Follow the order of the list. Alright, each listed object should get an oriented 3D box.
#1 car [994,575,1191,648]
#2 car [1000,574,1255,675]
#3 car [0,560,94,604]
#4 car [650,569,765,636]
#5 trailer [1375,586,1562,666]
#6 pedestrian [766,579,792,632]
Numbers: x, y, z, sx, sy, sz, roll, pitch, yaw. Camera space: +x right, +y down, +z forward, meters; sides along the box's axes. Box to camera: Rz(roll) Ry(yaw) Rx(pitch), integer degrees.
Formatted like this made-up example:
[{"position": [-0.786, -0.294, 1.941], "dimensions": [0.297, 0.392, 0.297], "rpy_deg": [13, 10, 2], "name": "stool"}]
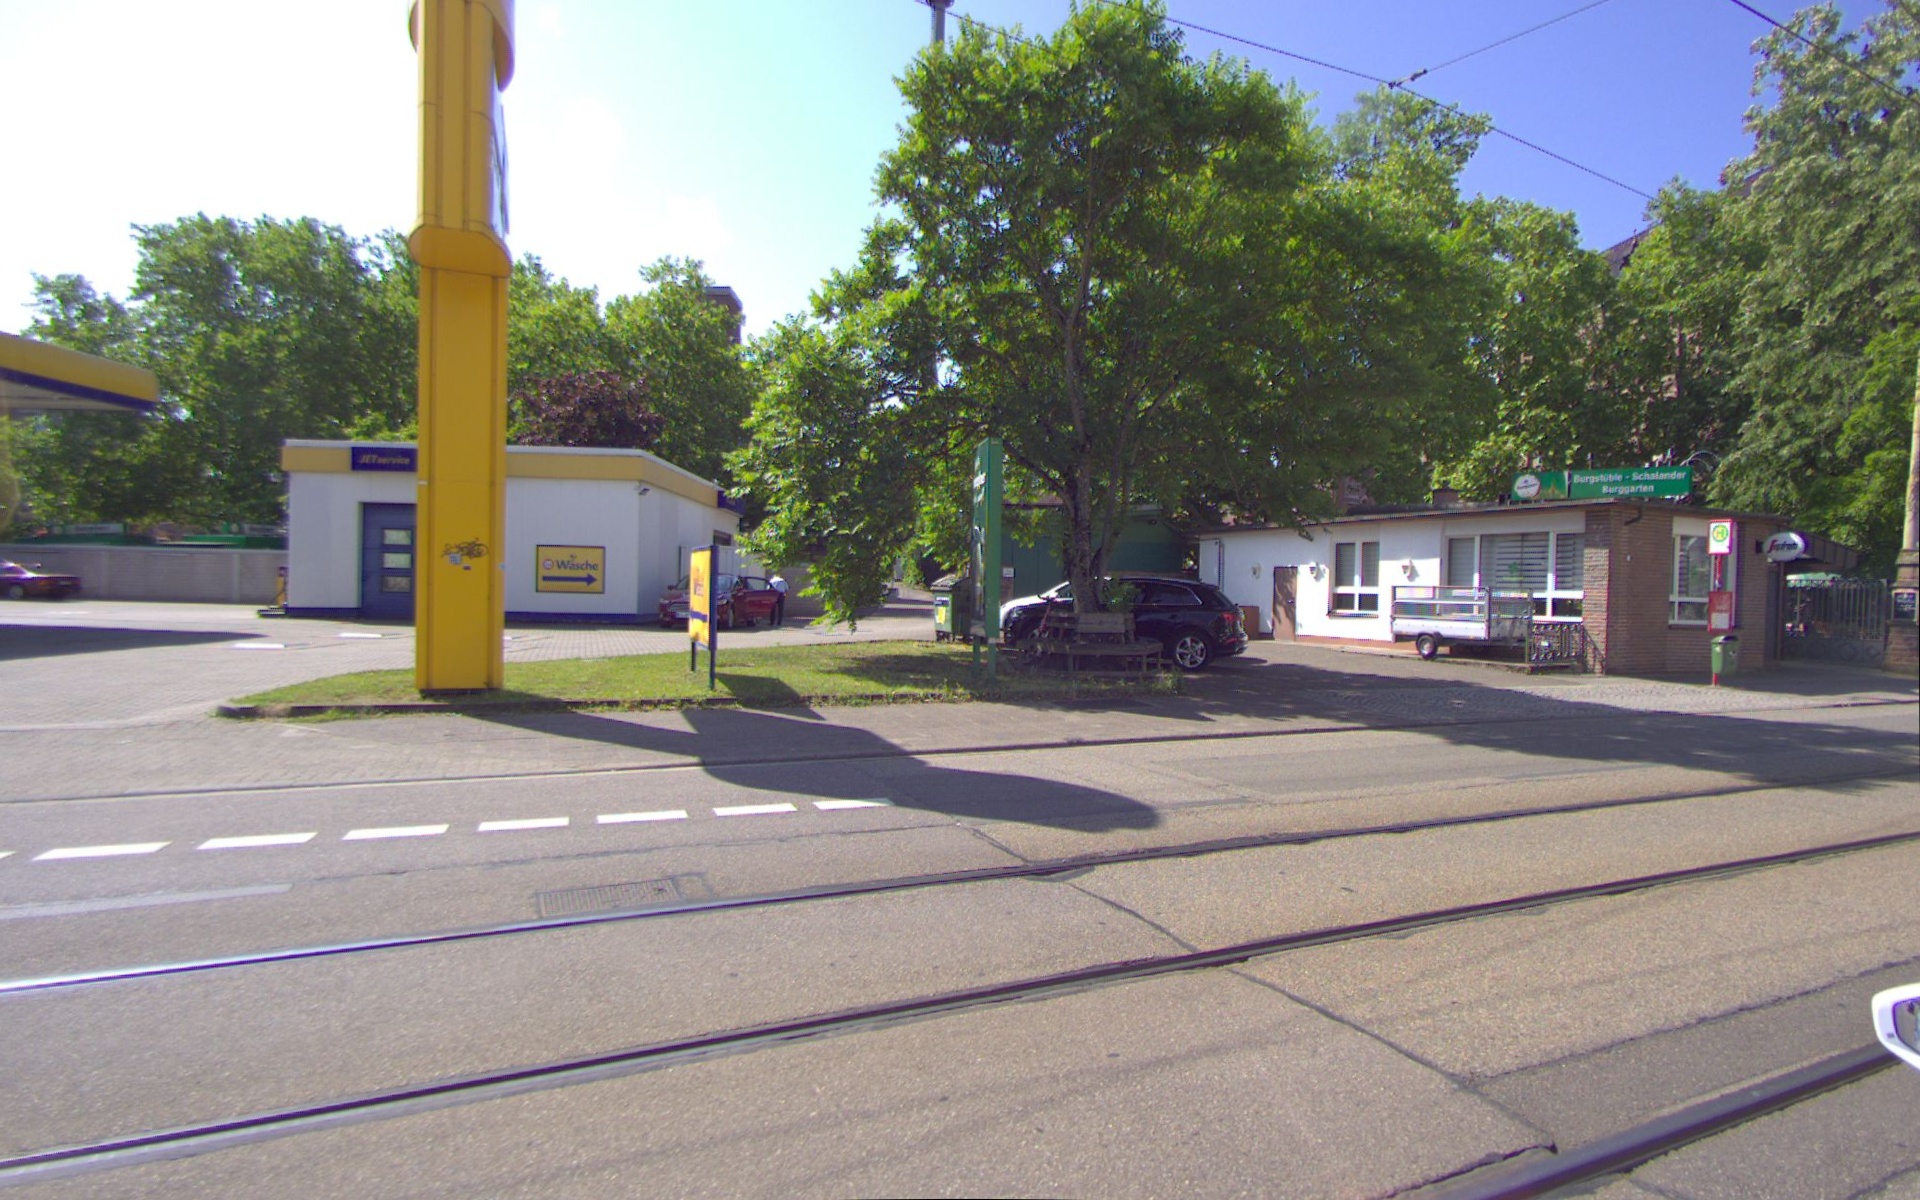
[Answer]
[{"position": [3.309, 0.243, 24.961], "dimensions": [4.488, 1.604, 1.949], "rpy_deg": [2, 1, 20], "name": "car"}, {"position": [3.205, 0.402, 19.118], "dimensions": [4.488, 1.647, 1.949], "rpy_deg": [2, 1, 19], "name": "car"}, {"position": [-33.867, -0.671, 36.297], "dimensions": [3.495, 1.479, 1.740], "rpy_deg": [2, 1, -5], "name": "car"}, {"position": [-6.578, 0.032, 26.632], "dimensions": [1.899, 1.547, 4.171], "rpy_deg": [2, 1, 0], "name": "car"}, {"position": [10.938, 0.525, 21.812], "dimensions": [1.753, 1.546, 3.207], "rpy_deg": [1, 1, -24], "name": "trailer"}, {"position": [-5.197, 0.163, 28.860], "dimensions": [0.629, 1.488, 0.677], "rpy_deg": [1, 1, -17], "name": "pedestrian"}]
